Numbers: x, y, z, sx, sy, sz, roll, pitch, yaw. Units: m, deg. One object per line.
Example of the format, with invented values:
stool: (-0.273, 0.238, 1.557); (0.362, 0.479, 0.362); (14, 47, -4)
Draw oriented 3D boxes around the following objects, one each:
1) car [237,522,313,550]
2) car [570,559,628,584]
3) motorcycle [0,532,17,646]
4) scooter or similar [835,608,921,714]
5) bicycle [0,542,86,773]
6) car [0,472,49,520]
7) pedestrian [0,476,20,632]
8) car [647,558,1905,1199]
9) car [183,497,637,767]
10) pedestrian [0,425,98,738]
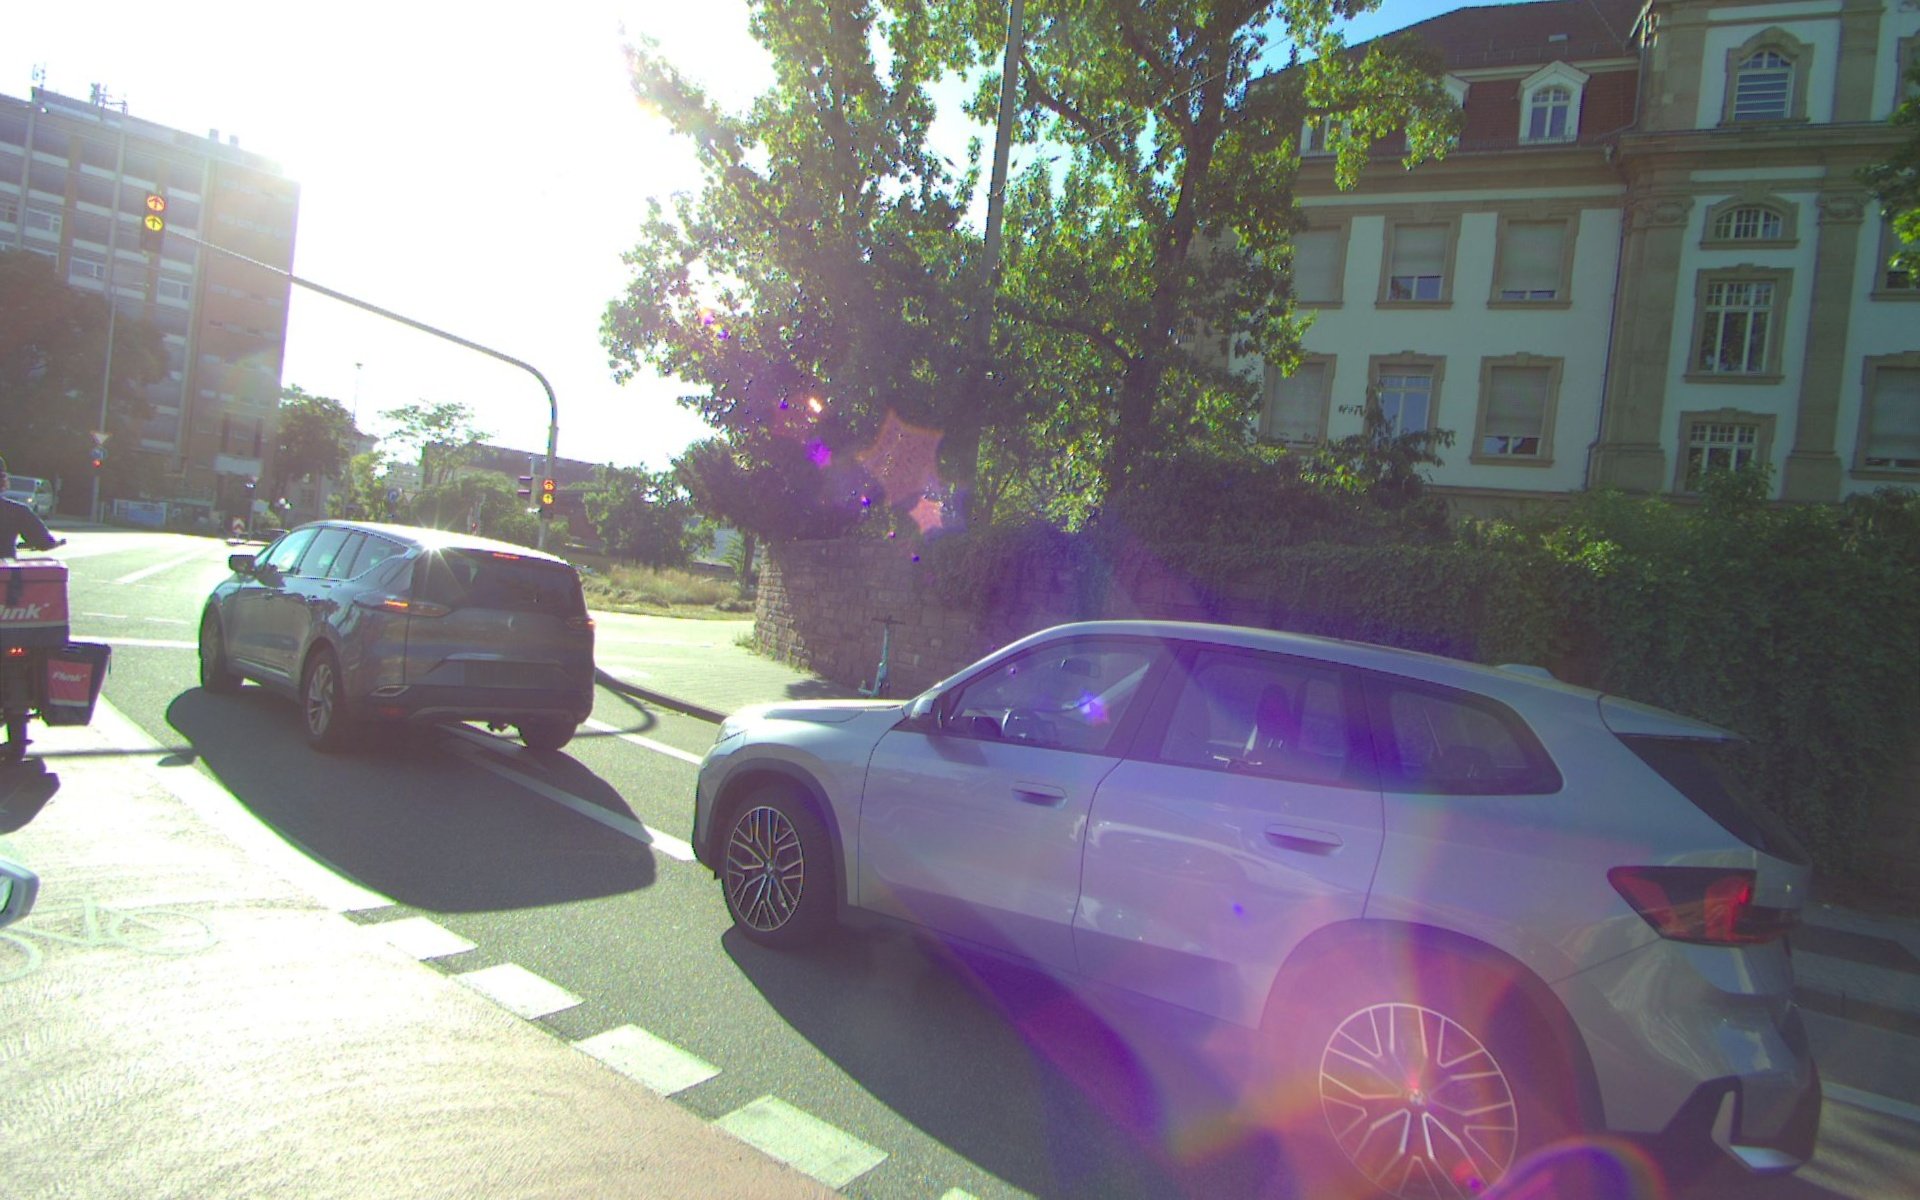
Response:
car: (-50.817, -4.710, 74.721); (4.338, 1.549, 1.794); (6, 1, -26)
car: (-28.094, -2.217, 78.326); (3.956, 1.549, 1.790); (6, 1, -31)
motorcycle: (-8.932, -0.081, 8.919); (0.611, 1.110, 2.334); (8, -2, -41)
scooter or similar: (-1.153, 0.820, 13.880); (0.569, 1.285, 1.414); (6, 0, -27)
bicycle: (-5.988, 0.256, 6.176); (2.340, 1.185, 0.553); (6, -2, 42)
car: (-43.993, -4.832, 46.740); (1.897, 1.970, 4.660); (4, 1, -36)
pedestrian: (-8.708, -0.300, 8.745); (0.585, 1.617, 1.013); (8, -1, -41)
car: (0.829, 0.883, 4.241); (4.263, 1.612, 1.788); (6, -2, 37)
car: (-4.834, 0.163, 8.553); (4.307, 1.709, 1.830); (6, -2, 40)
pedestrian: (-6.213, -0.146, 6.391); (0.943, 1.890, 0.806); (6, -1, 40)
